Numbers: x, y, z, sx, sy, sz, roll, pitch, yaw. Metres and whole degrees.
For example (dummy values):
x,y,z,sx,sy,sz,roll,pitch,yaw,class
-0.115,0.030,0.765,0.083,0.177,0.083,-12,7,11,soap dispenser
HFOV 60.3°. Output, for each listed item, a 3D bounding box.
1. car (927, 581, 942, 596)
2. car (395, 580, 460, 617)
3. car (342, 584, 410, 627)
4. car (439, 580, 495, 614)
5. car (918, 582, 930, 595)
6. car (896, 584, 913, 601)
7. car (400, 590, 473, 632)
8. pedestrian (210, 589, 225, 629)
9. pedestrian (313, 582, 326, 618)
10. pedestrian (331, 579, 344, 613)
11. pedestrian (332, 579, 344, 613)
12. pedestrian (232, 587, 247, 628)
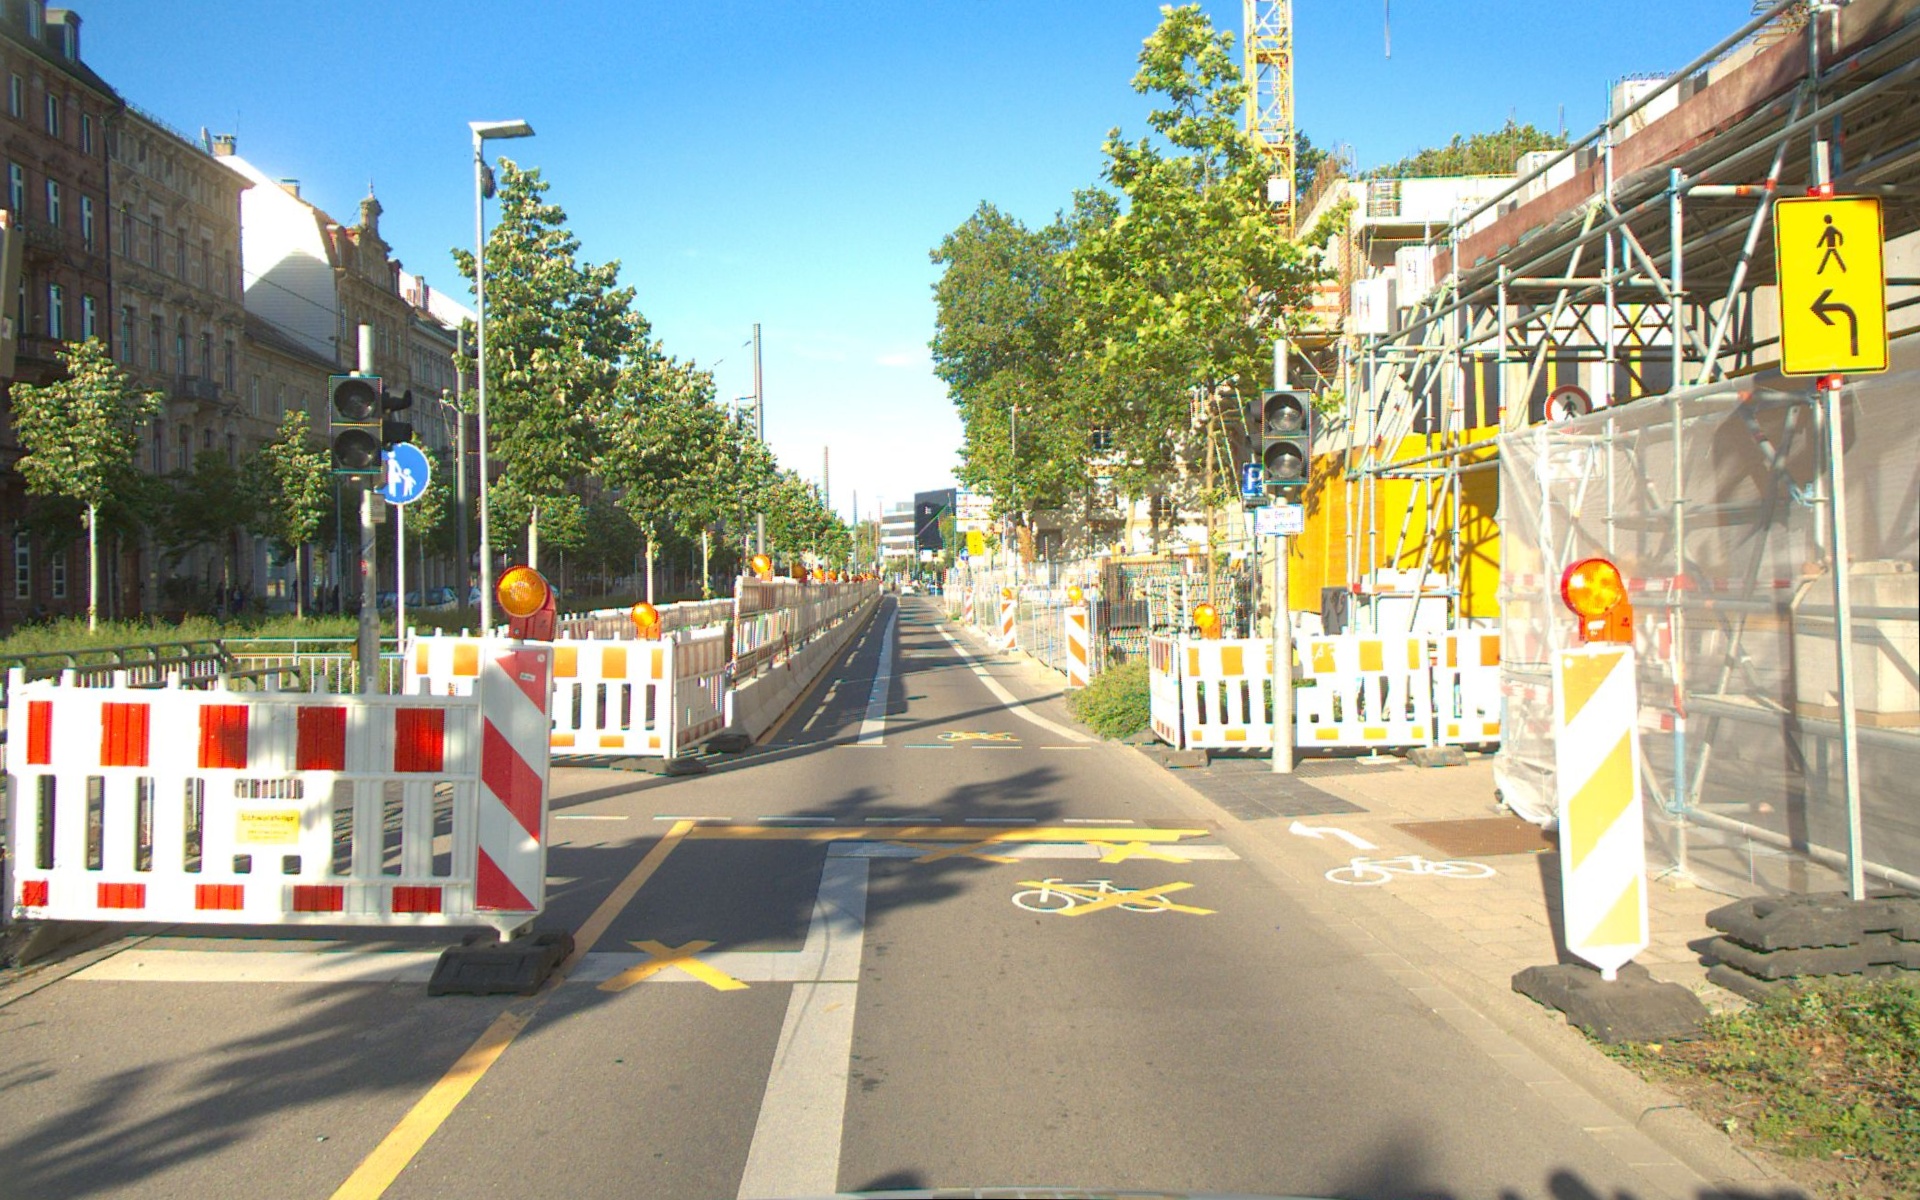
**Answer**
x,y,z,sx,sy,sz,roll,pitch,yaw,class
-3.322,-1.497,217.869,1.845,1.875,3.666,-1,1,-2,car
-24.290,-0.113,75.570,1.535,1.590,4.713,-1,1,-2,car
-24.142,0.208,68.501,1.535,1.704,3.807,-1,1,-2,car
-24.508,-0.171,82.353,1.535,1.590,4.712,-1,1,-2,car
-5.696,-1.830,261.293,1.845,1.875,3.666,-1,1,-2,car
-6.467,-0.898,192.265,1.845,1.875,3.666,-1,1,-2,car
-19.650,0.383,62.213,1.562,1.509,3.623,-1,1,0,car
-29.619,0.353,65.996,0.425,1.612,0.385,1,0,-5,pedestrian
-29.525,0.001,76.238,0.452,1.612,0.434,1,0,-9,pedestrian
-28.680,-0.179,76.170,0.397,1.561,0.435,1,0,-2,pedestrian
-28.598,-0.183,76.053,0.397,1.559,0.435,1,0,-2,pedestrian
-28.771,0.306,66.020,0.420,1.612,0.339,1,0,-1,pedestrian
